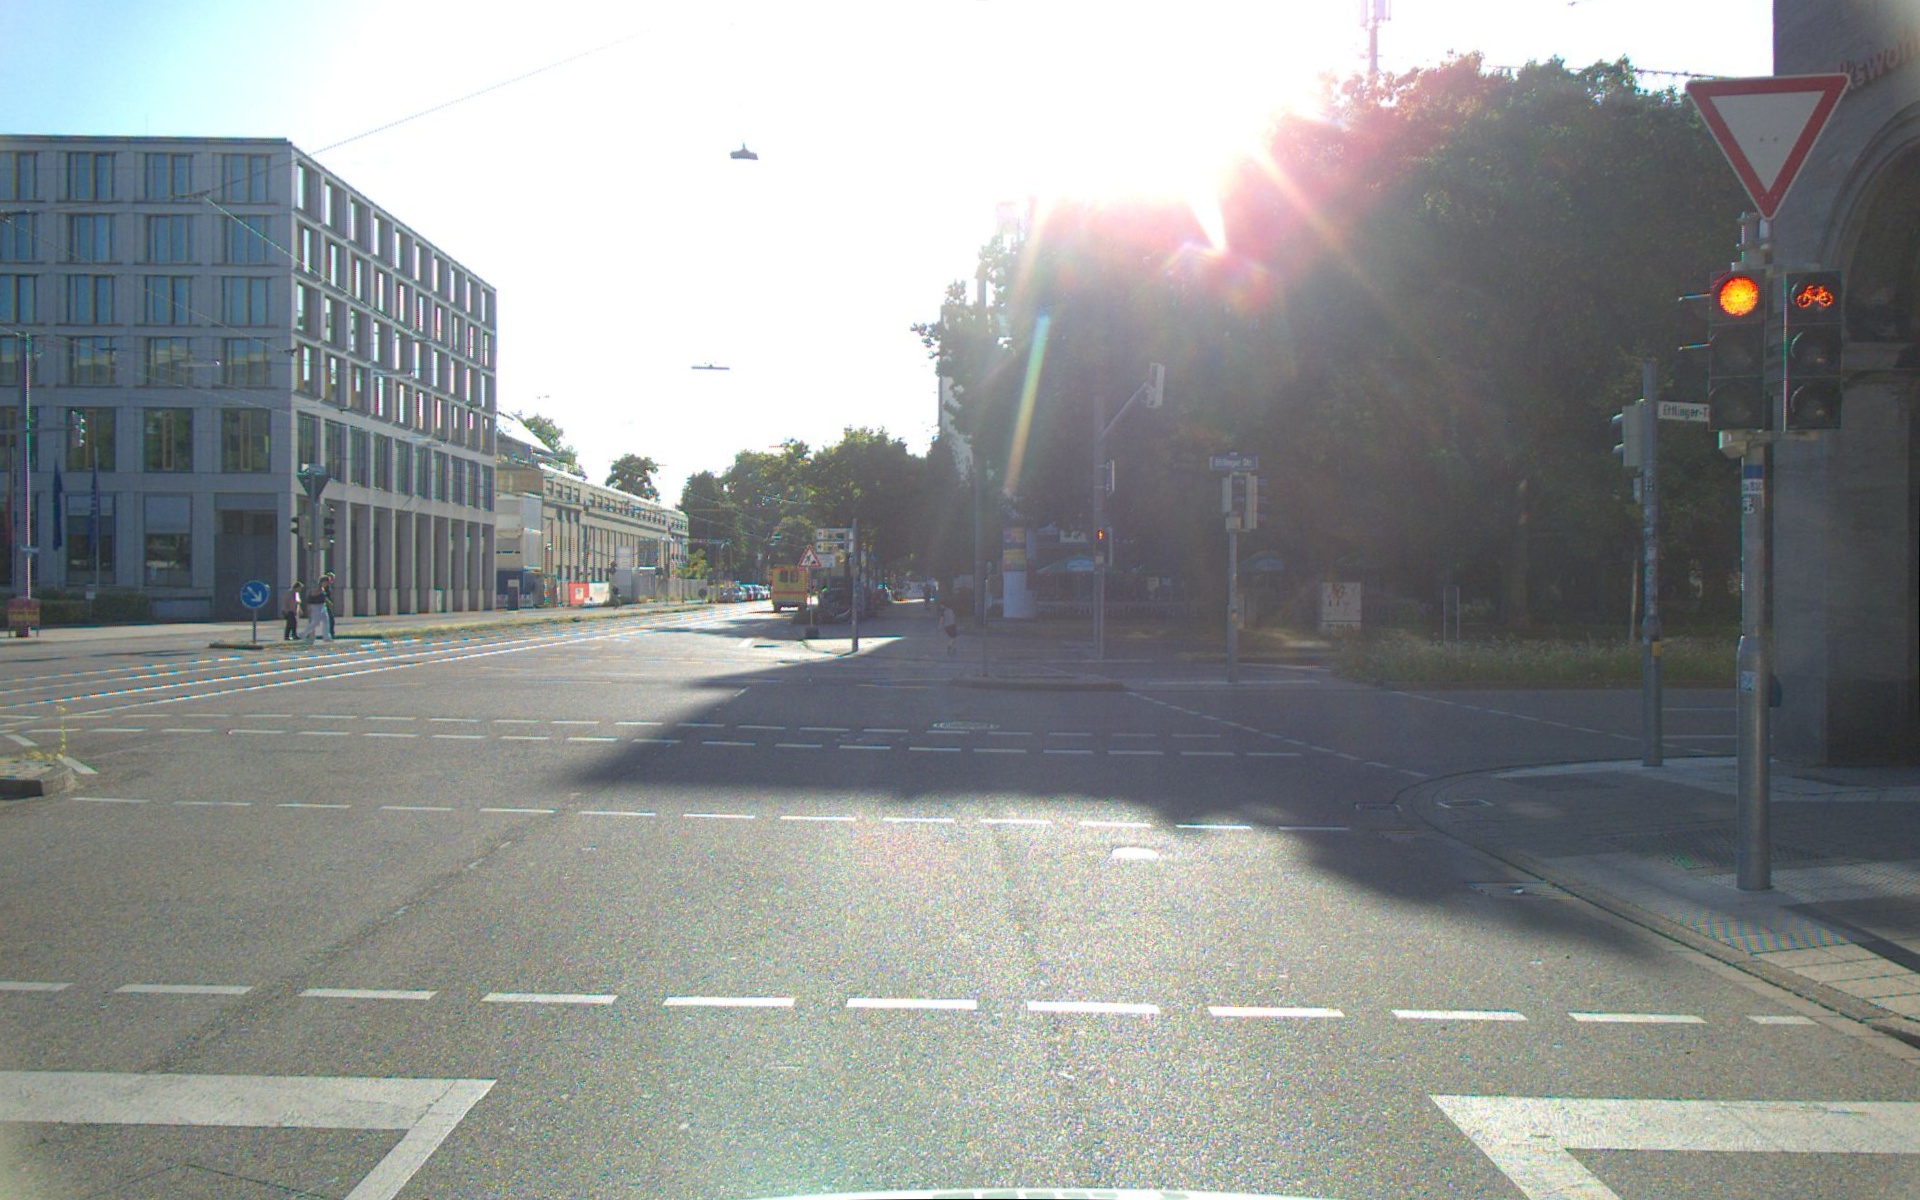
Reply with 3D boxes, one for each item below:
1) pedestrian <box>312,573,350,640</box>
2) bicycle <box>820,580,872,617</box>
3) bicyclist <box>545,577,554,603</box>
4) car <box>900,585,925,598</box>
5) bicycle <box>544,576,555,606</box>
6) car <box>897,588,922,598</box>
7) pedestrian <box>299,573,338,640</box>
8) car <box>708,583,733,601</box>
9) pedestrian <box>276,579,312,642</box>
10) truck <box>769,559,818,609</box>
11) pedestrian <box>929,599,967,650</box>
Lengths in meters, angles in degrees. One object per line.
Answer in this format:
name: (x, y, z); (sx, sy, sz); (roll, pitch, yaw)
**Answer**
pedestrian: (-16.966, 0.171, 44.595); (0.732, 1.792, 0.678); (-1, -1, 4)
bicycle: (-5.596, -0.089, 81.252); (2.495, 1.774, 1.037); (1, 0, -1)
bicyclist: (-32.176, -0.797, 129.728); (0.559, 2.059, 0.761); (0, 0, -2)
car: (-6.102, -1.114, 213.362); (3.152, 1.616, 1.445); (1, 0, -5)
bicycle: (-32.176, -0.679, 129.757); (0.559, 2.336, 1.422); (0, 0, -2)
car: (-6.460, -0.903, 211.144); (3.153, 1.285, 1.372); (1, 0, -2)
pedestrian: (-16.338, 0.163, 42.141); (0.777, 1.673, 0.620); (0, 0, -5)
car: (-22.560, -0.784, 156.070); (1.856, 1.635, 4.498); (0, 0, -3)
pedestrian: (-17.673, 0.271, 43.891); (0.680, 1.673, 0.621); (0, 0, 0)
truck: (-10.395, -0.987, 103.771); (2.662, 3.068, 6.486); (0, 0, -2)
pedestrian: (-0.314, 0.637, 43.558); (0.973, 1.340, 0.767); (0, 0, 2)
